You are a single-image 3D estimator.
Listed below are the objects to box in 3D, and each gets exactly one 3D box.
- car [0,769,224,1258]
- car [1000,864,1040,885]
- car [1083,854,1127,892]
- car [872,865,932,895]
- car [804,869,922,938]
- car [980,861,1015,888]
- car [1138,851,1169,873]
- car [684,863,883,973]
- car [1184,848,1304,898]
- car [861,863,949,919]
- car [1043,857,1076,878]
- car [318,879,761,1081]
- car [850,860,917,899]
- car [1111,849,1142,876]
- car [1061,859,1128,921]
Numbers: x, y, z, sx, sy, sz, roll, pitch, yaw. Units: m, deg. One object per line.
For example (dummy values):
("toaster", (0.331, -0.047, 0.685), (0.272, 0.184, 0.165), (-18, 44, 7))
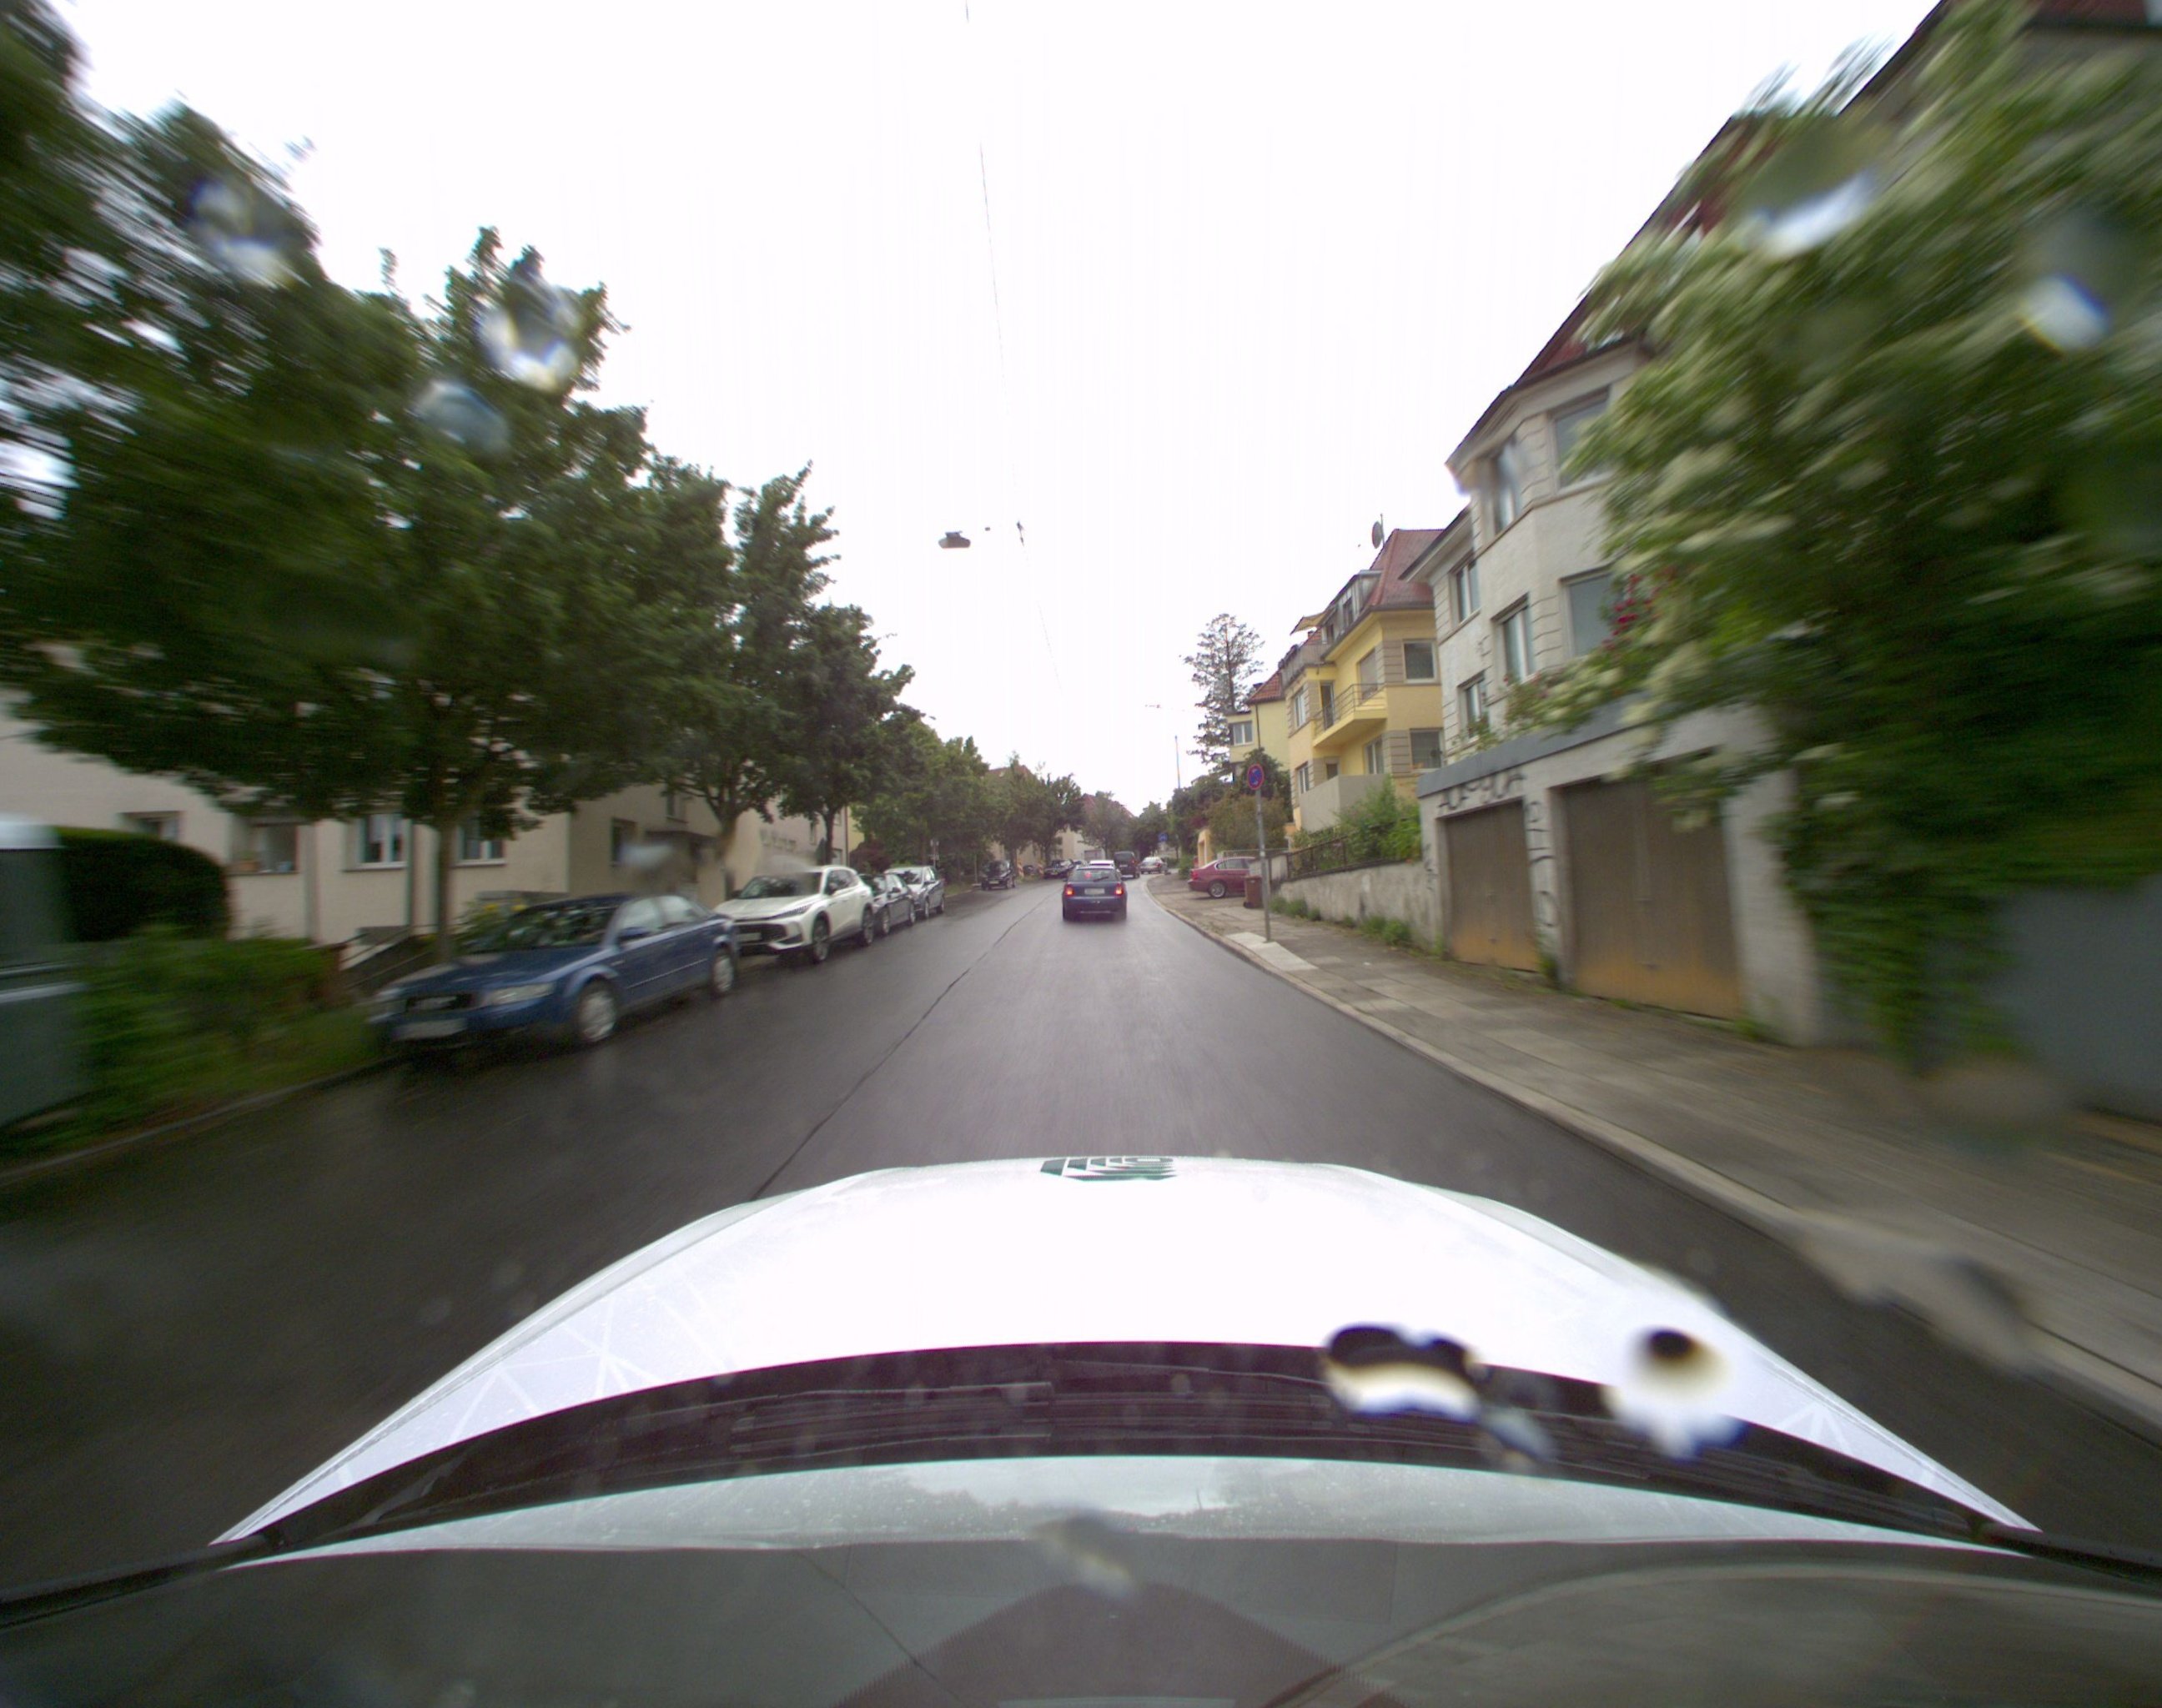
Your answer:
("car", (-5.411, 0.740, 1.863), (1.787, 2.049, 4.778), (-5, 0, -2))
("car", (-5.607, 1.877, 74.779), (3.185, 1.372, 1.486), (-9, 1, 17))
("car", (1.190, 0.872, 39.055), (1.967, 1.635, 4.238), (1, 1, 2))
("car", (-11.115, 1.616, 50.751), (3.198, 1.372, 1.480), (-8, 1, 1))
("car", (-5.346, 1.166, 20.522), (1.762, 1.473, 4.008), (-3, -1, 1))
("car", (-4.601, 1.112, 45.226), (1.468, 1.295, 3.223), (1, 1, 3))
("car", (6.288, 0.671, 70.349), (1.720, 1.768, 4.255), (1, 1, 18))
("car", (-5.229, 1.037, 15.109), (1.761, 1.627, 4.692), (-3, -1, 2))
("car", (5.720, 0.659, 28.946), (3.969, 1.466, 1.741), (-3, 1, 4))
("car", (-5.463, 1.113, 25.721), (1.762, 1.539, 4.008), (-3, -1, 1))
("car", (-1.602, 0.994, 62.208), (1.723, 1.466, 4.011), (1, 1, 10))
("car", (-5.404, 1.117, 9.088), (1.762, 1.387, 4.633), (-3, 1, 0))
("car", (-11.229, 1.430, 46.484), (3.198, 1.740, 1.480), (-8, 1, 1))
("car", (3.217, 0.572, 57.128), (1.723, 1.768, 4.247), (1, 1, 9))
("car", (0.368, 0.932, 22.893), (1.727, 1.466, 4.001), (1, 1, 0))
